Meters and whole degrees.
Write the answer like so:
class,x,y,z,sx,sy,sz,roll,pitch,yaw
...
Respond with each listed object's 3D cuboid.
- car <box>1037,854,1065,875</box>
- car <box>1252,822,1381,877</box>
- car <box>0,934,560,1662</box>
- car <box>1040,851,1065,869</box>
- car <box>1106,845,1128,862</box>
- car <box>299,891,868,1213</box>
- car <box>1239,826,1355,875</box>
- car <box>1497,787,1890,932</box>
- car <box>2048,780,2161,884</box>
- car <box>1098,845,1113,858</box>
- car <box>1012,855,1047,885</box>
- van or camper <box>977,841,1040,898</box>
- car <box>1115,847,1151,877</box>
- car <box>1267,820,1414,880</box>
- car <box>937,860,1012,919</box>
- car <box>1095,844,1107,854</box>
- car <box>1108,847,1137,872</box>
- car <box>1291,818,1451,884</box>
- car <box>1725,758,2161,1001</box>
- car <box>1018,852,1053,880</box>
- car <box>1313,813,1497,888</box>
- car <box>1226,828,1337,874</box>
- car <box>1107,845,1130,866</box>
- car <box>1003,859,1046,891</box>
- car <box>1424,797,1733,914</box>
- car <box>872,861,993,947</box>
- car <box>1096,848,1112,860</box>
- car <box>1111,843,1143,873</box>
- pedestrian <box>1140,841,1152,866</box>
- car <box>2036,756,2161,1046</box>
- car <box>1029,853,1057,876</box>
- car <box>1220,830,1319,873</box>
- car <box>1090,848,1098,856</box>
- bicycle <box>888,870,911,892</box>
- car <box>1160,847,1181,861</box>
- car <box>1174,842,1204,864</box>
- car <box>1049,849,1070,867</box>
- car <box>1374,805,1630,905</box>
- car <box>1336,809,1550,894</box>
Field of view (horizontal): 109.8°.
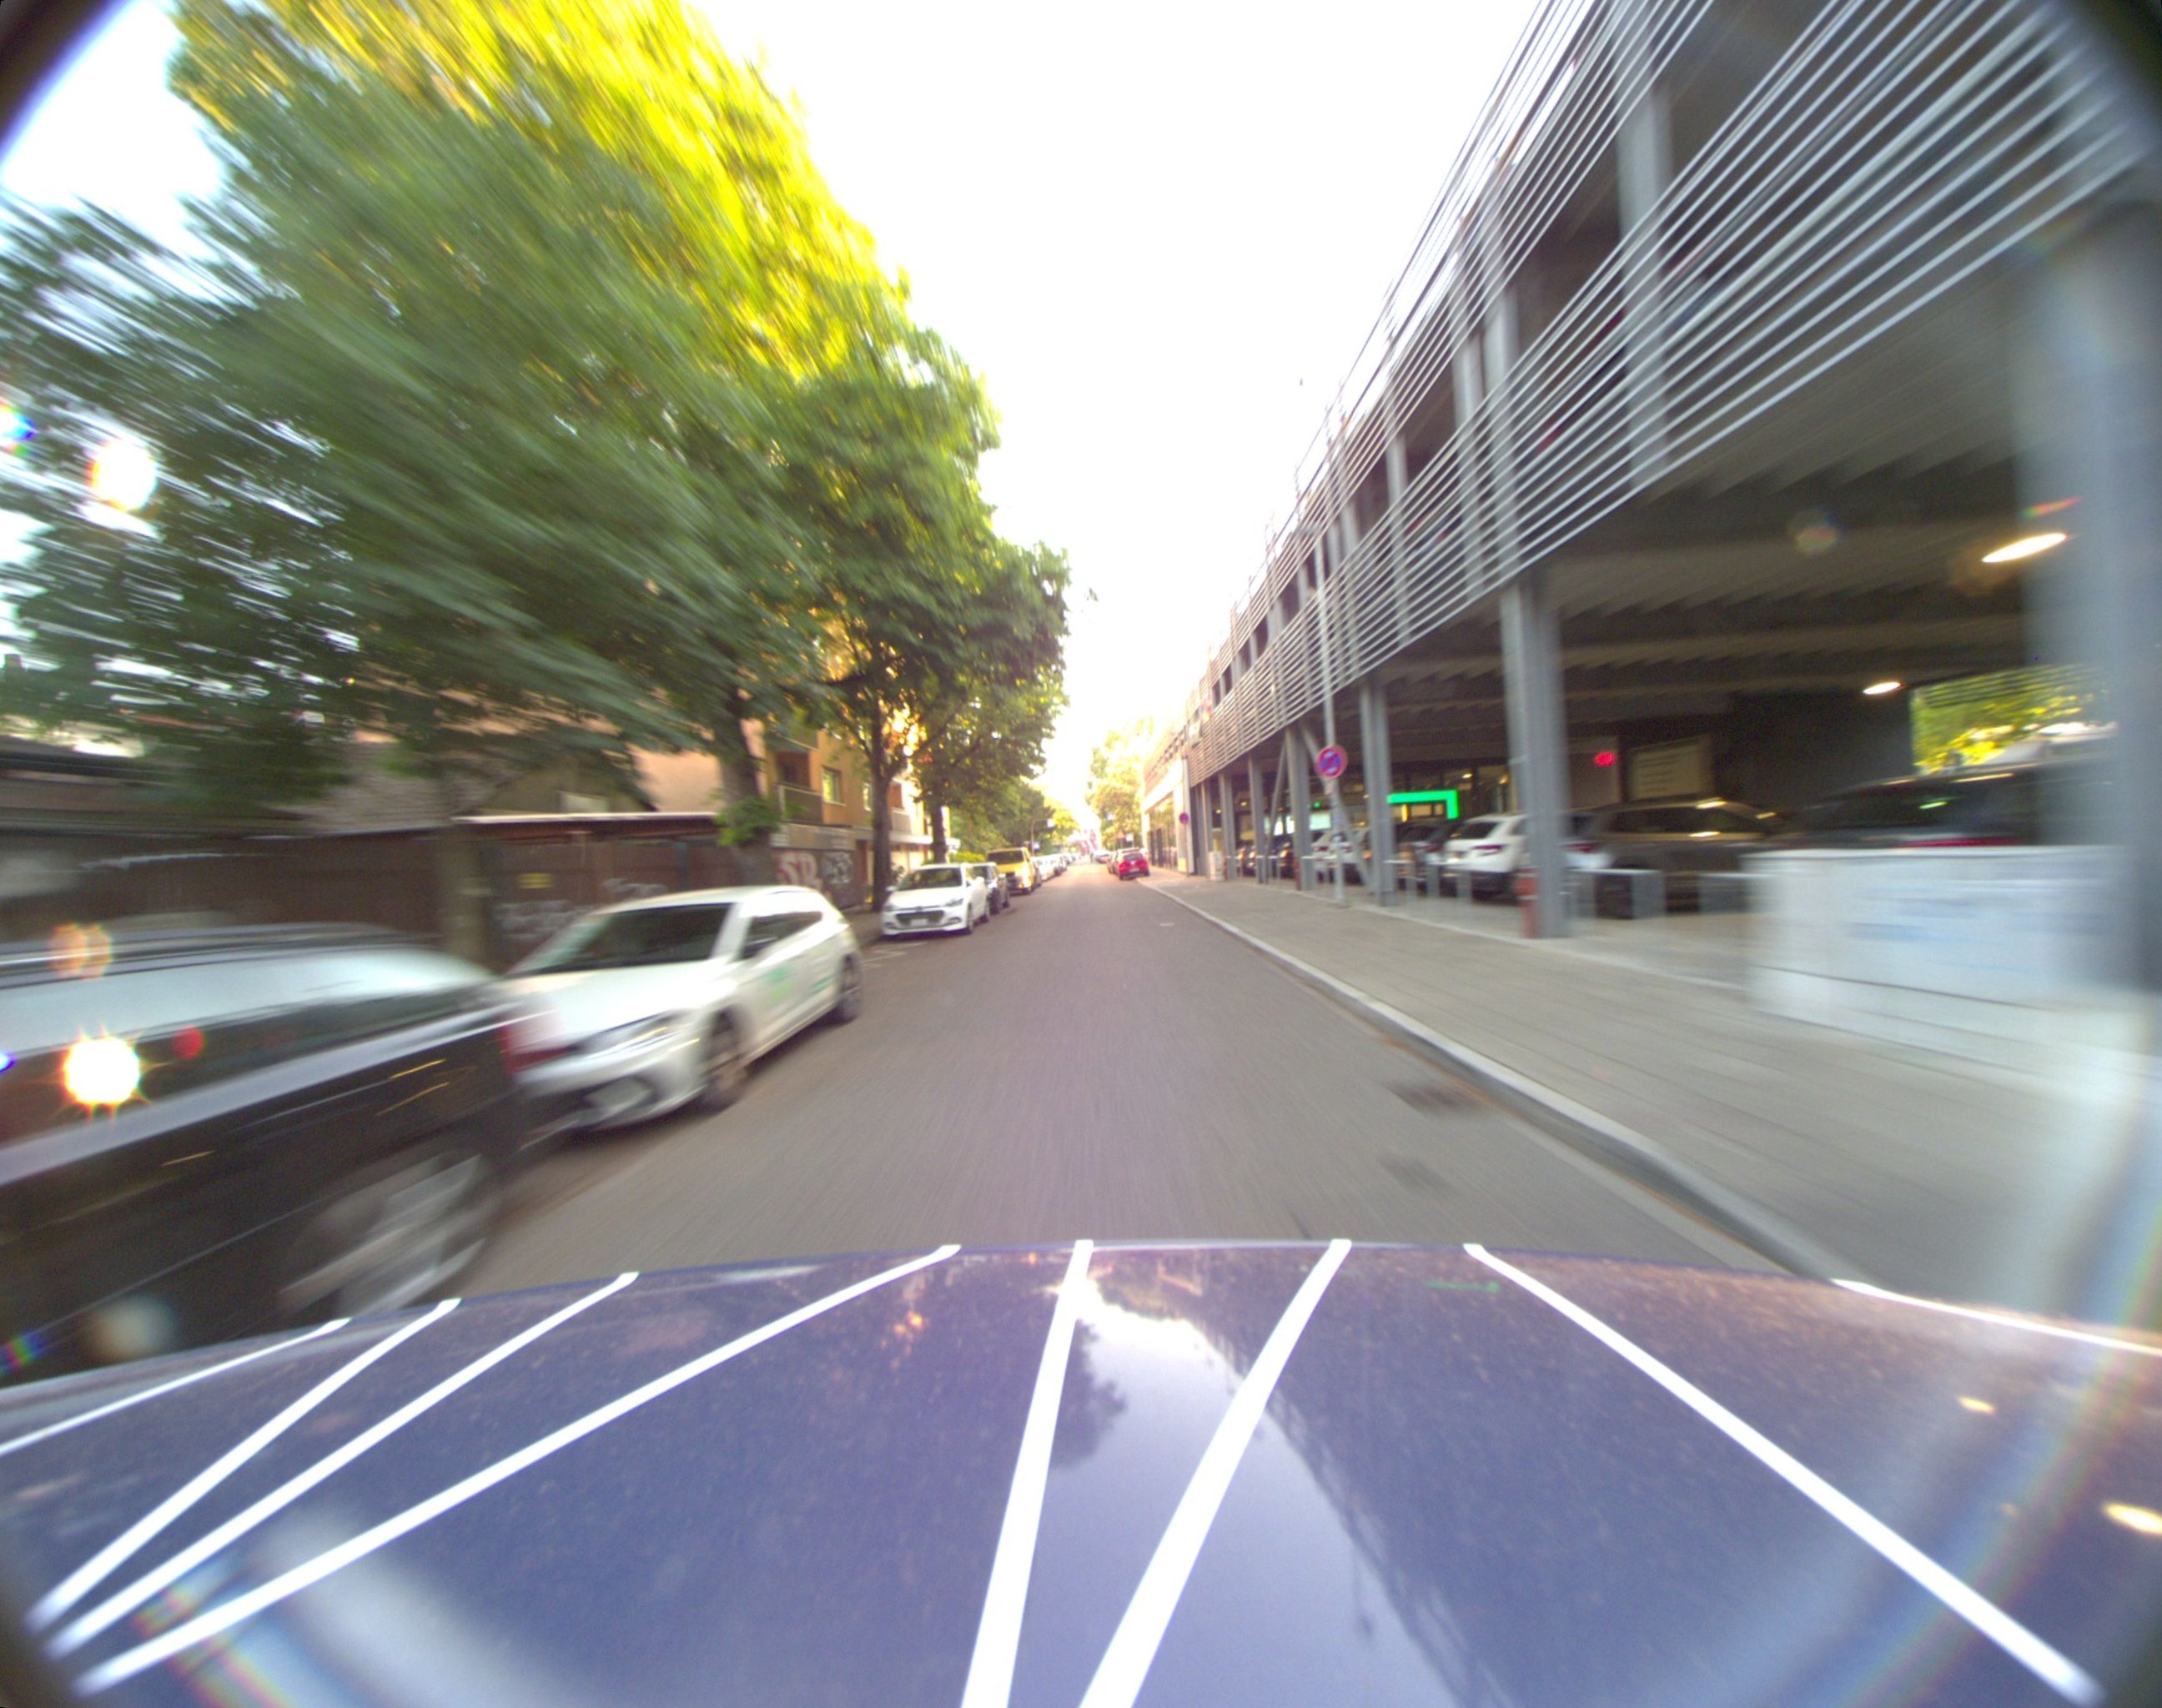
class,x,y,z,sx,sy,sz,roll,pitch,yaw
car,-2.205,0.771,57.612,1.814,1.408,4.625,-3,0,0
car,8.470,-0.142,27.601,4.045,1.674,1.860,-4,0,2
car,-3.331,1.126,1.278,1.764,1.446,4.392,-3,0,1
car,-2.322,0.481,63.414,1.814,1.408,3.896,-3,0,1
car,3.747,-0.047,80.554,1.666,1.505,3.883,-7,0,-5
car,-3.192,1.145,6.020,1.764,1.433,4.006,-3,0,1
car,8.530,-0.129,30.241,4.045,1.674,1.860,-4,0,2
car,8.614,0.087,11.006,4.074,1.674,1.860,-4,0,2
car,18.505,-0.451,11.950,4.045,1.587,1.860,-4,0,2
car,3.634,-0.360,113.411,1.786,1.568,3.884,-9,0,-2
car,-2.876,0.858,42.657,1.614,1.502,3.477,-3,0,0
van or camper,-2.944,0.620,32.039,2.069,2.083,5.090,-3,0,-1
car,2.847,0.419,42.466,1.702,1.497,3.790,-3,0,0
car,8.501,-0.128,25.192,4.159,1.674,1.860,-4,0,2
car,-2.938,0.952,21.580,1.567,1.442,3.453,-3,0,0
car,4.039,-1.041,155.210,1.964,1.826,3.884,-9,0,-2
car,2.941,0.408,54.542,1.942,1.587,4.205,-3,0,2
car,8.591,-0.075,22.781,4.035,1.674,1.860,-4,0,2
car,8.343,0.116,6.426,4.097,1.674,1.860,-4,0,2
car,-2.769,0.723,47.352,1.796,1.553,4.193,-3,0,0
car,8.608,-0.079,20.459,4.093,1.674,1.860,-4,0,2
car,8.531,-0.114,32.598,4.176,1.674,1.860,-4,0,2
car,3.131,0.139,64.248,1.666,1.489,3.884,-9,0,1
car,-2.744,1.007,37.589,1.610,1.373,4.001,-3,0,2
car,8.544,0.031,13.354,4.113,1.674,1.860,-4,0,2
car,-3.077,0.977,16.516,1.726,1.510,4.026,-3,0,0
car,3.268,-0.054,108.744,1.786,1.442,3.884,-9,0,-2
car,2.872,0.226,47.927,1.702,1.746,4.403,-3,0,0
pedestrian,4.917,-0.034,57.591,0.722,1.867,0.620,-3,0,2
car,8.240,0.148,3.930,4.089,1.674,1.860,-4,0,2
car,-2.596,0.714,52.325,1.614,1.453,4.054,-3,0,0
car,8.626,-0.105,34.968,4.052,1.674,1.860,-4,0,2
car,3.321,-0.496,191.375,1.786,1.772,4.011,-5,0,-2
bicycle,-8.221,1.209,34.484,0.524,0.916,1.835,-3,0,0
car,8.845,0.007,75.568,1.597,1.286,3.451,-3,0,0
car,8.356,-0.071,59.300,1.702,1.506,4.192,-3,0,0
car,-2.043,0.343,72.599,1.814,1.566,3.884,-3,0,0
car,8.465,0.032,15.569,4.113,1.674,1.860,-4,0,2
car,8.475,-0.046,18.083,4.113,1.674,1.860,-4,0,2
